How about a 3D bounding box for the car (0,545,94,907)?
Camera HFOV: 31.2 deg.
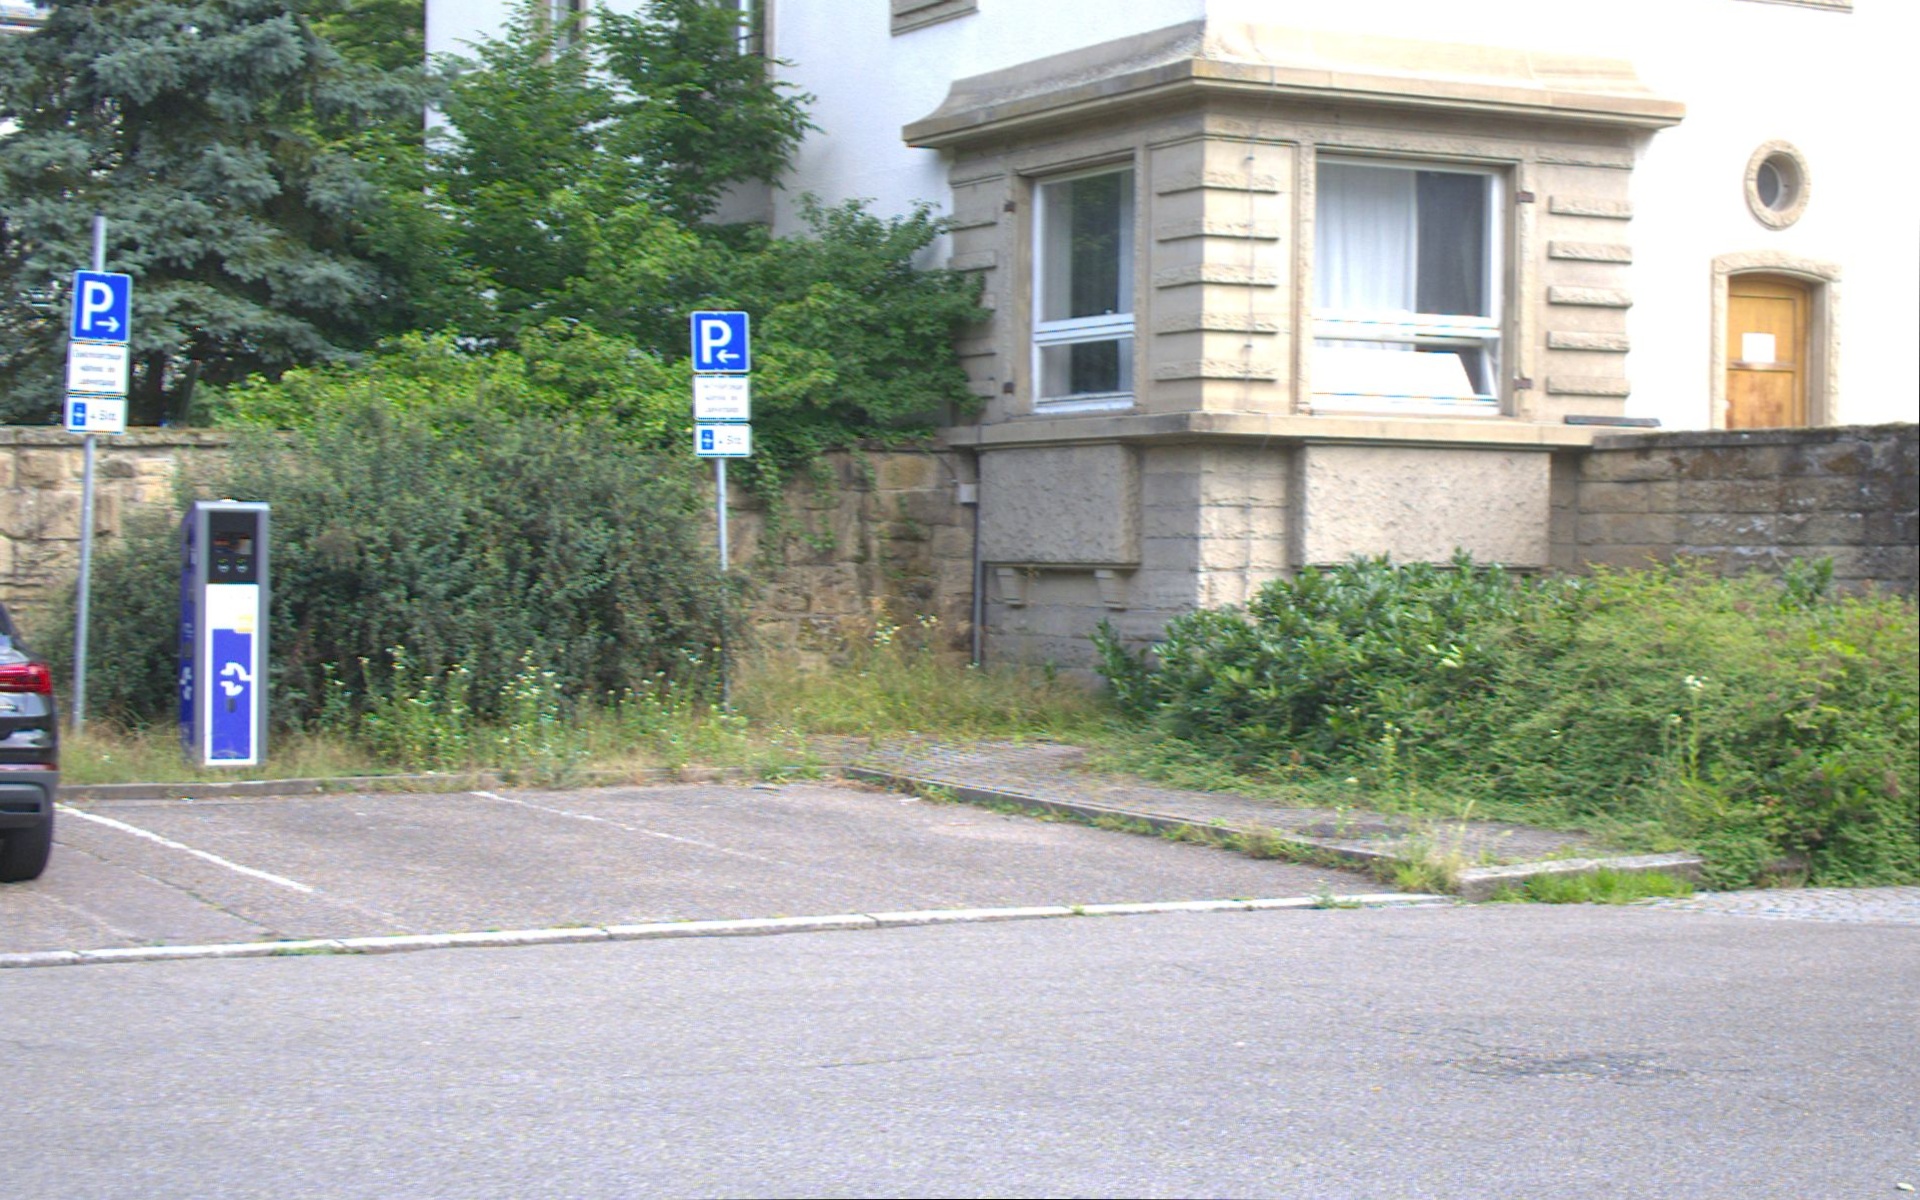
[{"bbox_3d":[-5.578,0.508,16.739,1.893,1.541,4.001,0,2,-25],"label":"car"}]
